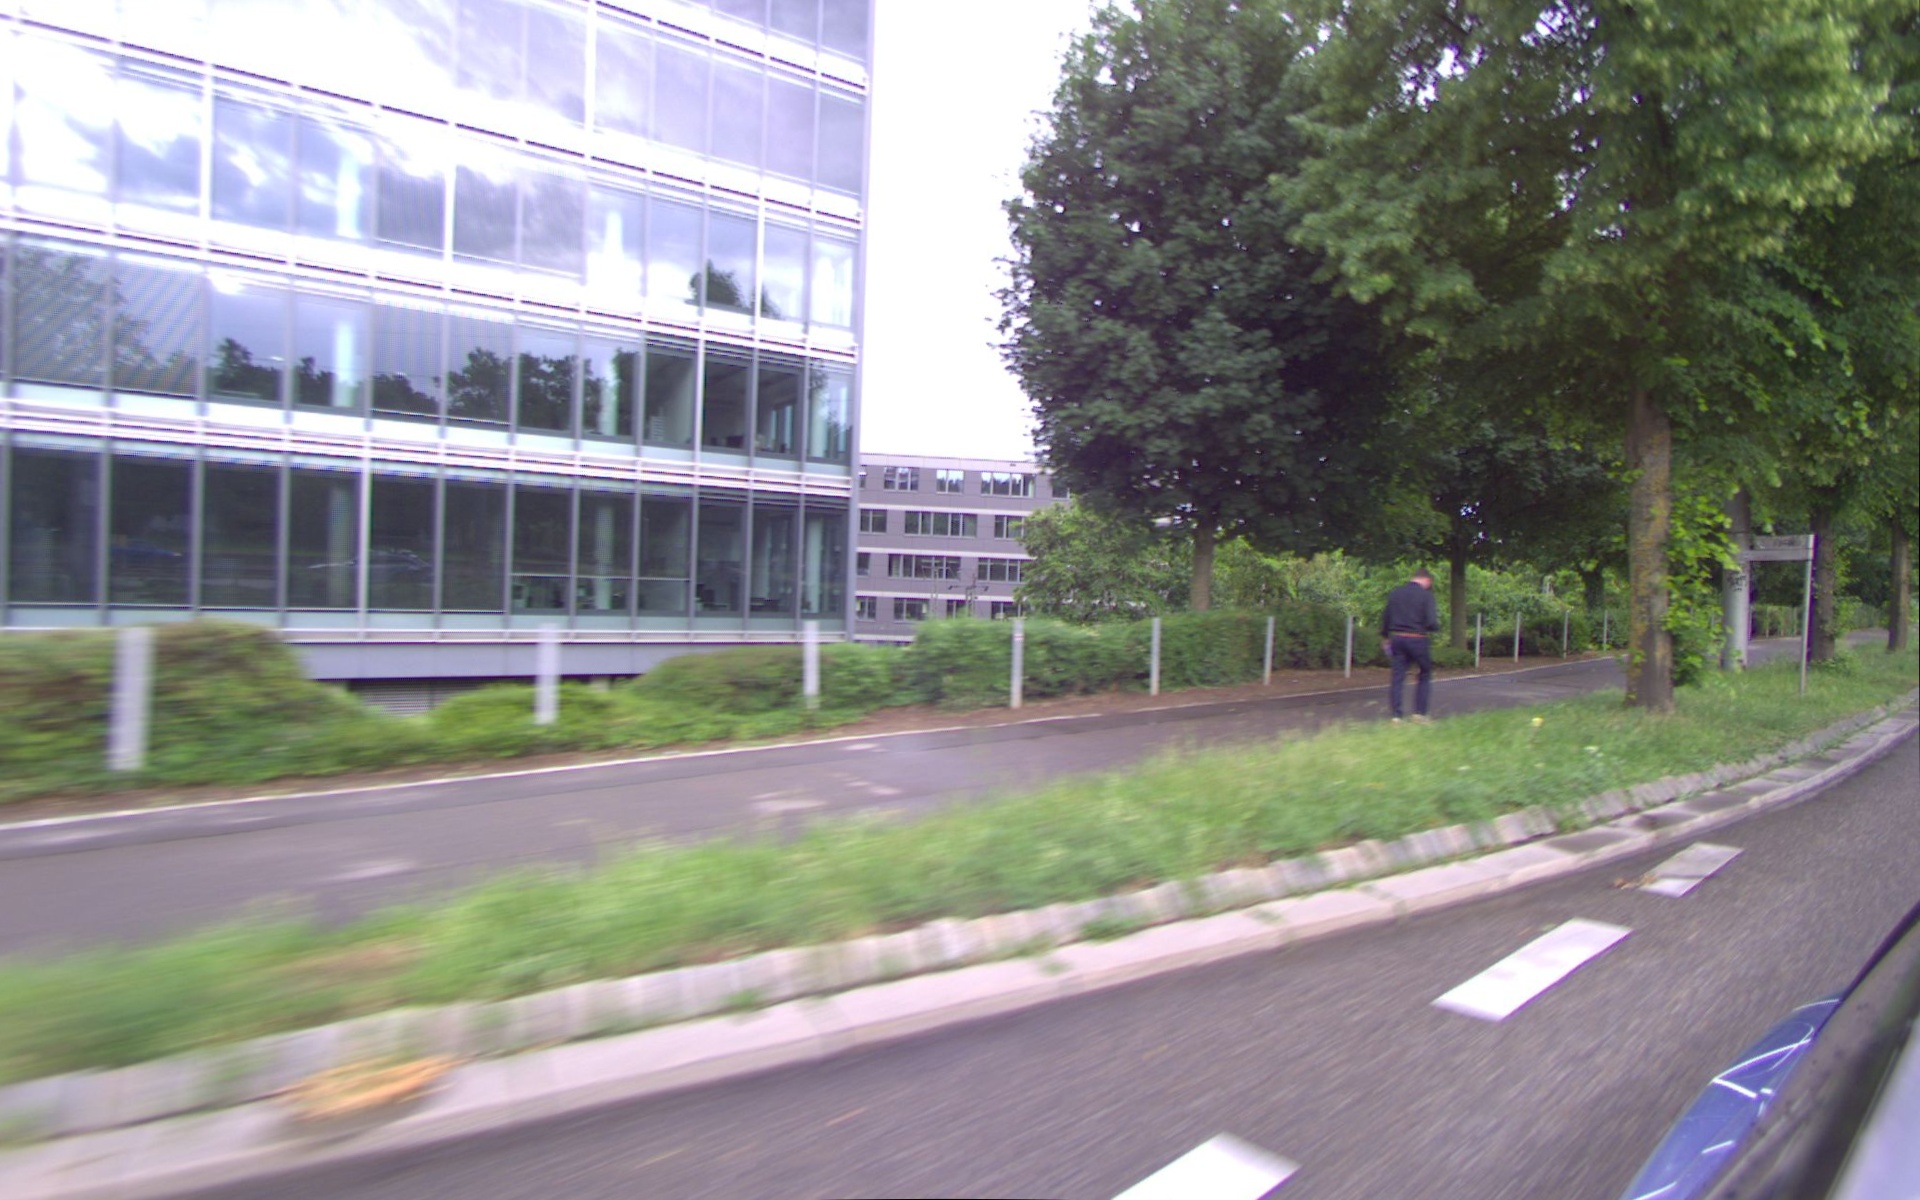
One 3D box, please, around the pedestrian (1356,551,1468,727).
[{"bbox_3d":[4.940,0.393,11.073,0.852,1.820,0.827,0,0,-40],"label":"pedestrian"}]
